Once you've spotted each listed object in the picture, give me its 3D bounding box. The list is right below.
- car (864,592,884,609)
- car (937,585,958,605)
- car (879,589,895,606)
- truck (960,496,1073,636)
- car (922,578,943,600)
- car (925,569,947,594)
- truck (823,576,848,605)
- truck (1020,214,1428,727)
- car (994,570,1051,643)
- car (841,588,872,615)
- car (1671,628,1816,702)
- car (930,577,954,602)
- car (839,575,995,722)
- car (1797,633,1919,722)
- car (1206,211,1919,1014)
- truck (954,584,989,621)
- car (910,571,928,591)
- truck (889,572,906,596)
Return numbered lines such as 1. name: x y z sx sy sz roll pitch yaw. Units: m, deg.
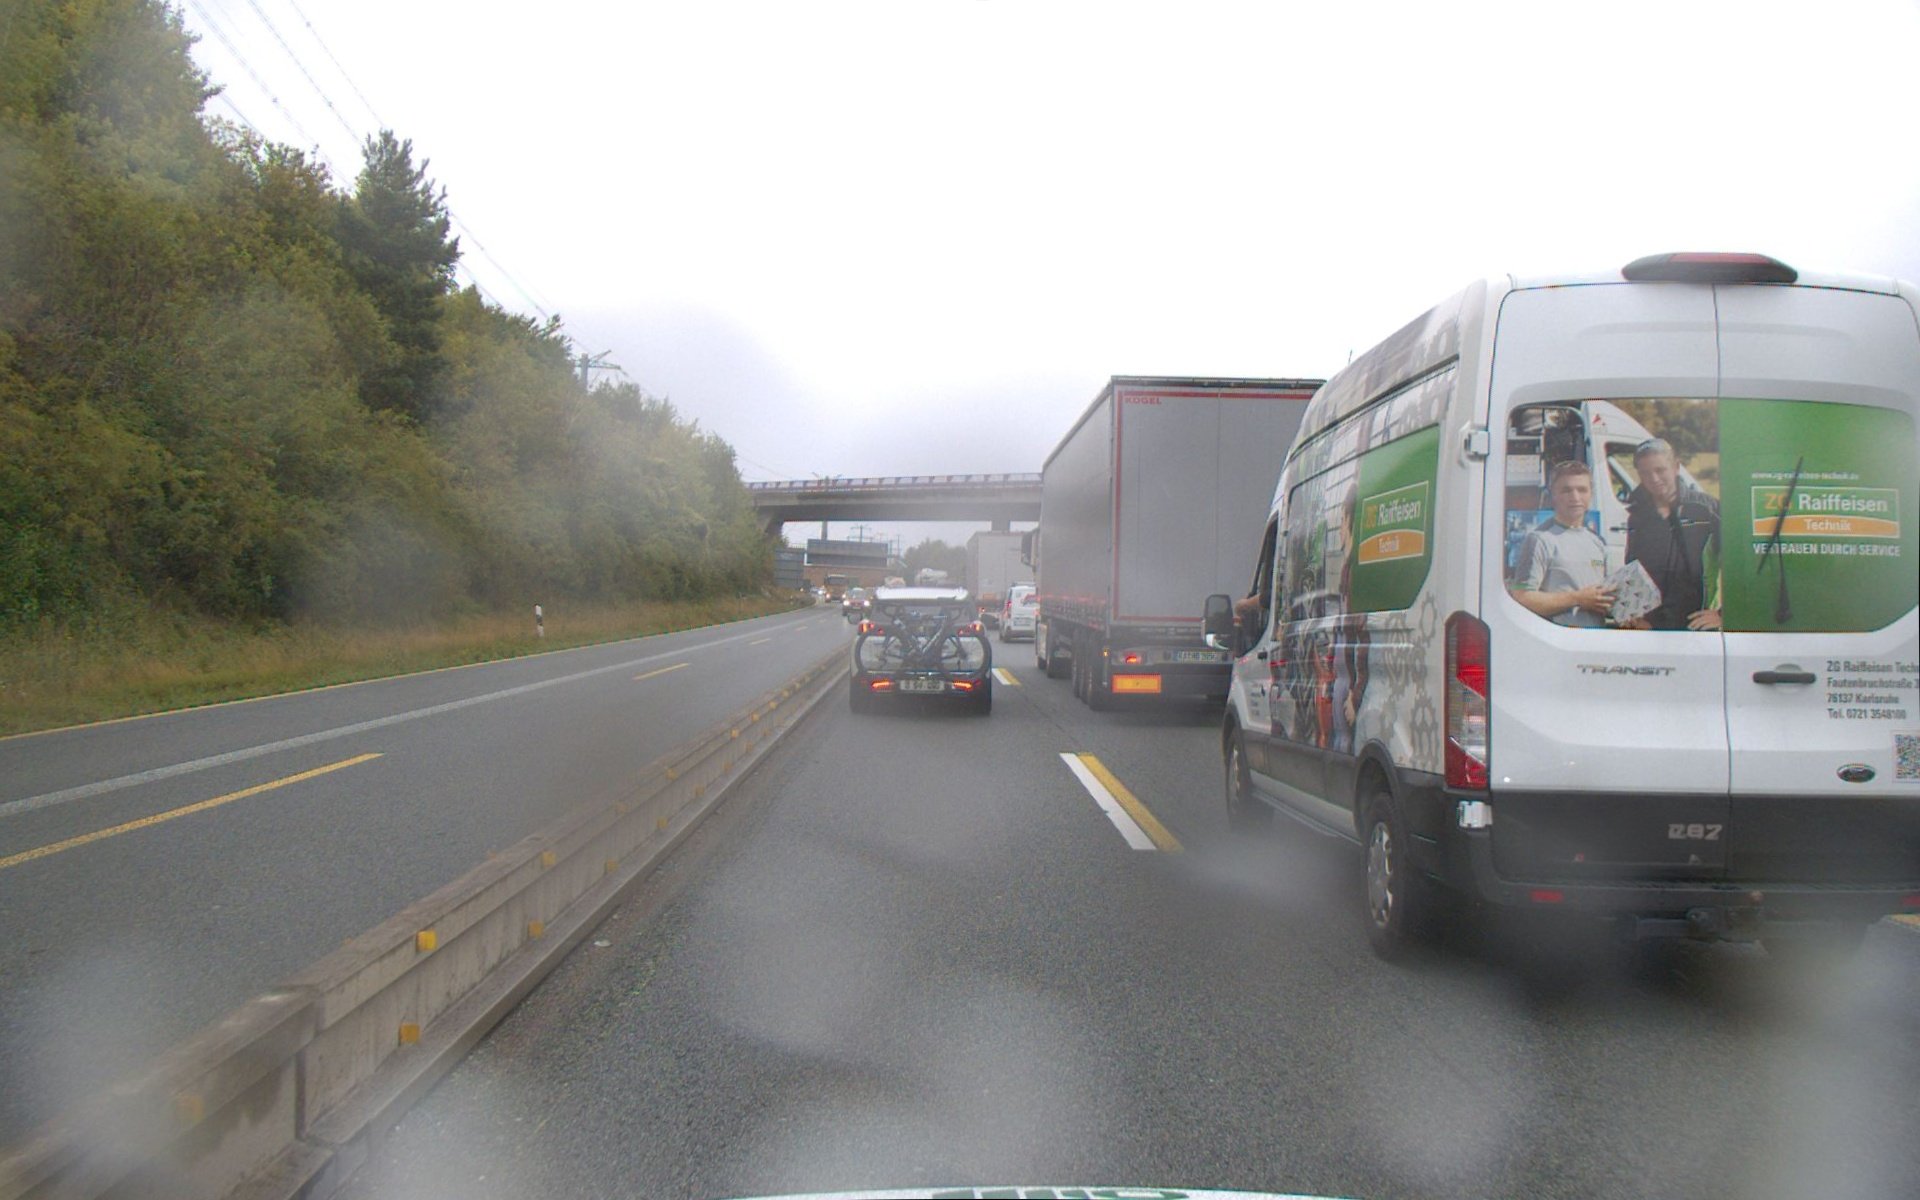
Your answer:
1. car: -8.648 0.022 167.481 1.773 1.661 4.117 1 0 0
2. car: -0.973 -0.380 128.235 1.605 1.524 3.665 1 0 -1
3. car: -8.319 -0.258 188.953 1.774 1.856 4.633 1 0 -3
4. truck: 2.389 -1.402 79.058 4.646 5.772 20.375 1 0 0
5. car: -2.552 -1.017 154.508 1.953 2.049 3.999 1 0 -1
6. car: -2.419 -1.862 167.601 2.194 2.347 4.571 1 0 -1
7. truck: -15.112 -1.127 201.226 2.484 3.411 12.045 1 0 -2
8. truck: 3.379 -1.444 28.996 3.898 5.772 20.375 1 0 0
9. car: 1.965 0.211 53.235 1.635 2.218 4.534 1 0 0
10. car: -6.428 0.089 102.979 1.758 1.583 3.999 1 0 -1
11. car: 20.671 1.680 43.805 1.694 1.788 4.266 1 0 -2
12. car: -1.551 -0.905 140.797 1.953 2.049 3.999 1 0 -1
13. car: -0.489 0.566 21.336 1.773 1.666 4.635 1 0 0
14. car: 20.823 1.695 37.197 1.694 1.800 4.328 1 0 -2
15. car: 2.806 0.053 8.718 2.100 2.723 6.117 1 0 0
16. truck: 0.634 0.153 97.018 1.953 2.049 3.999 1 0 -1
17. car: -4.436 -2.051 179.705 1.953 2.164 4.526 1 0 -1
18. truck: -9.452 -2.332 250.320 2.484 3.411 12.045 1 0 -2
